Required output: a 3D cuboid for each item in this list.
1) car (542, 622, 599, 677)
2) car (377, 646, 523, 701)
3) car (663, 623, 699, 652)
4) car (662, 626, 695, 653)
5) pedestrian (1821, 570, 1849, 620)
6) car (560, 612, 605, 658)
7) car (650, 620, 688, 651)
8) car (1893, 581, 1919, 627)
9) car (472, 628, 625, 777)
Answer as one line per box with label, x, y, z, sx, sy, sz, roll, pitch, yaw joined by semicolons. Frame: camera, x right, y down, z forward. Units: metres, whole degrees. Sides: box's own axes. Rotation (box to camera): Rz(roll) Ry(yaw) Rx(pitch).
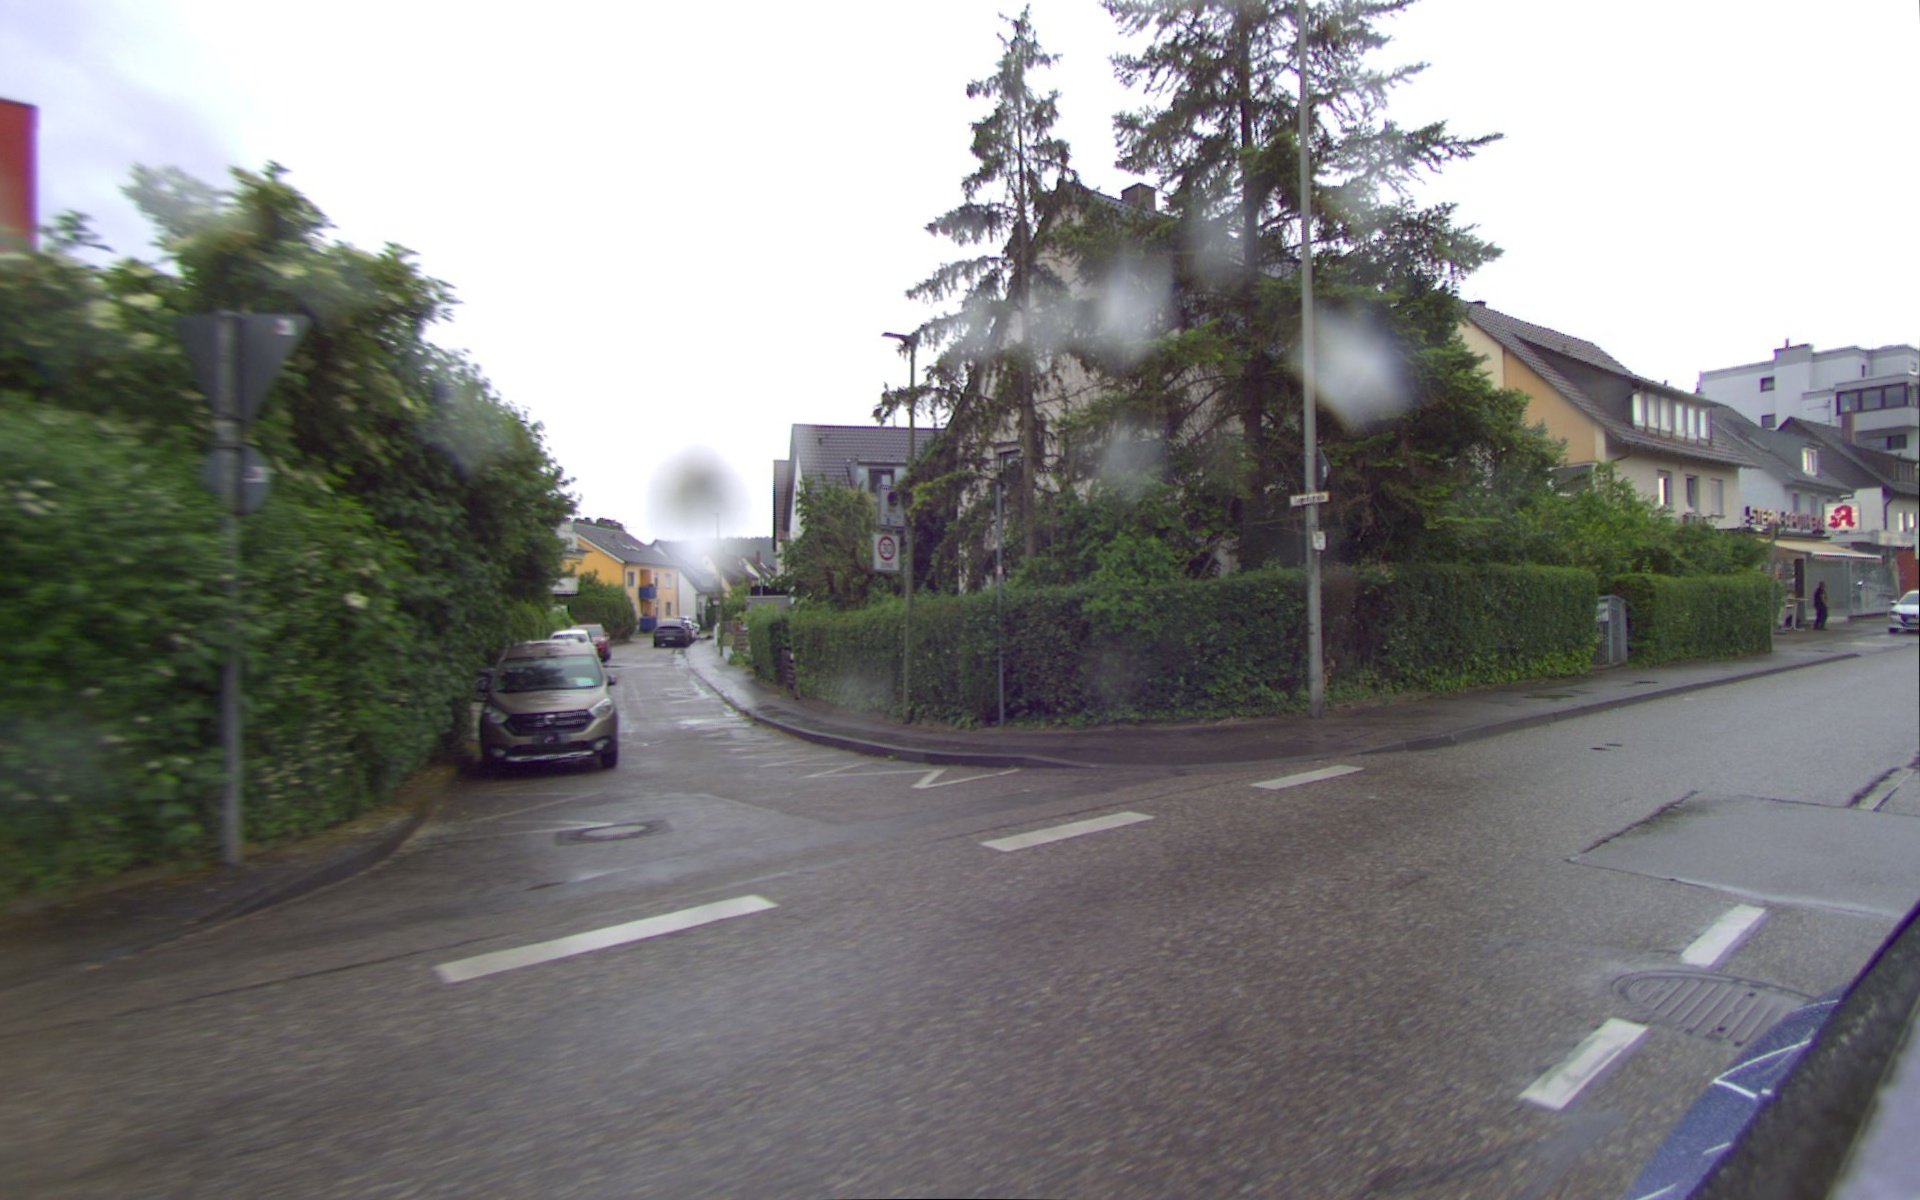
car;-13.488;1.761;35.199;1.595;1.707;4.005;-3;-3;-19
car;-13.166;1.877;26.303;3.110;1.312;1.520;0;-2;-13
car;-17.698;2.350;64.063;1.896;1.711;4.007;-1;-1;-19
car;-19.120;2.666;68.564;1.896;1.711;4.007;-1;-1;-19
pedestrian;30.314;-0.166;35.075;0.544;1.700;0.514;-1;0;17
car;-15.810;1.519;42.493;1.595;1.707;4.005;-3;-3;-19
car;-16.926;2.037;58.693;1.896;1.711;4.007;-1;-1;-19
car;33.455;0.125;34.384;4.125;1.466;1.821;-1;2;-36
car;-5.896;1.369;14.596;1.750;1.773;4.299;0;-3;-22
